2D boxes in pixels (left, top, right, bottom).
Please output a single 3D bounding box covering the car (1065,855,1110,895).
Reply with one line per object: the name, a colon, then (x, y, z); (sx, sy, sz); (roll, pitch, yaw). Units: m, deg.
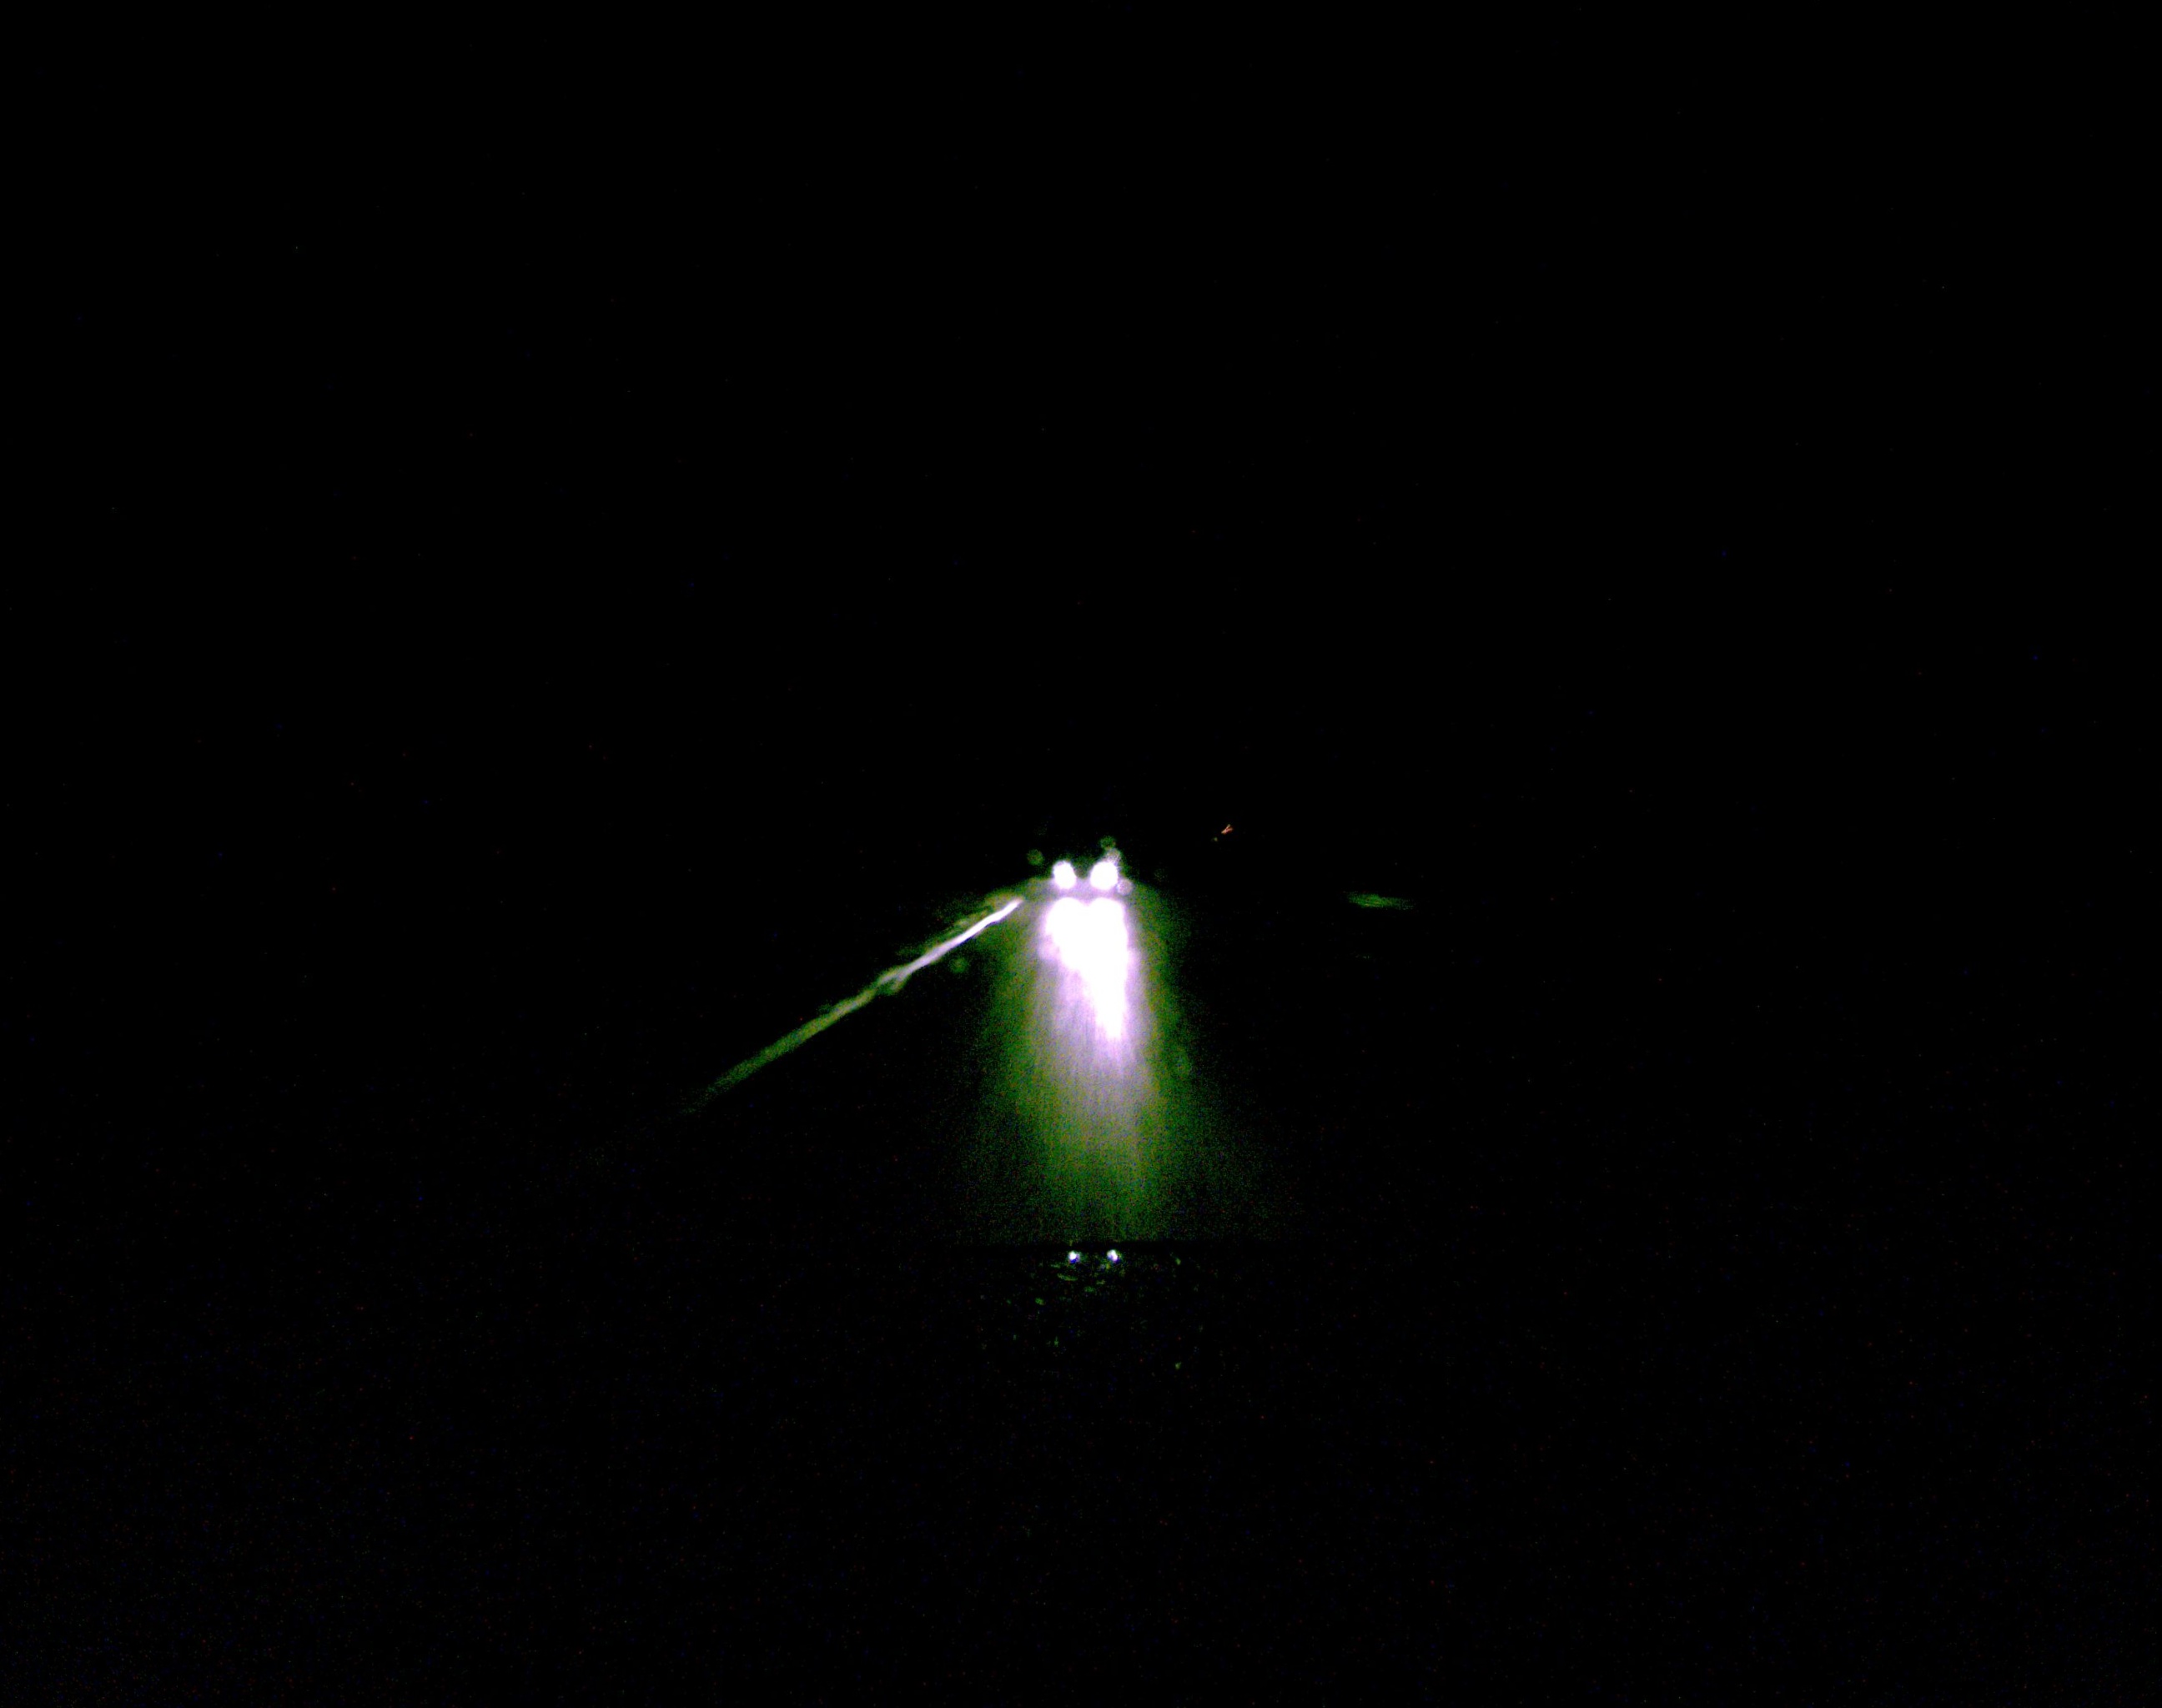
car: (0.328, 0.841, 32.130); (1.793, 1.593, 4.001); (0, 0, 2)
